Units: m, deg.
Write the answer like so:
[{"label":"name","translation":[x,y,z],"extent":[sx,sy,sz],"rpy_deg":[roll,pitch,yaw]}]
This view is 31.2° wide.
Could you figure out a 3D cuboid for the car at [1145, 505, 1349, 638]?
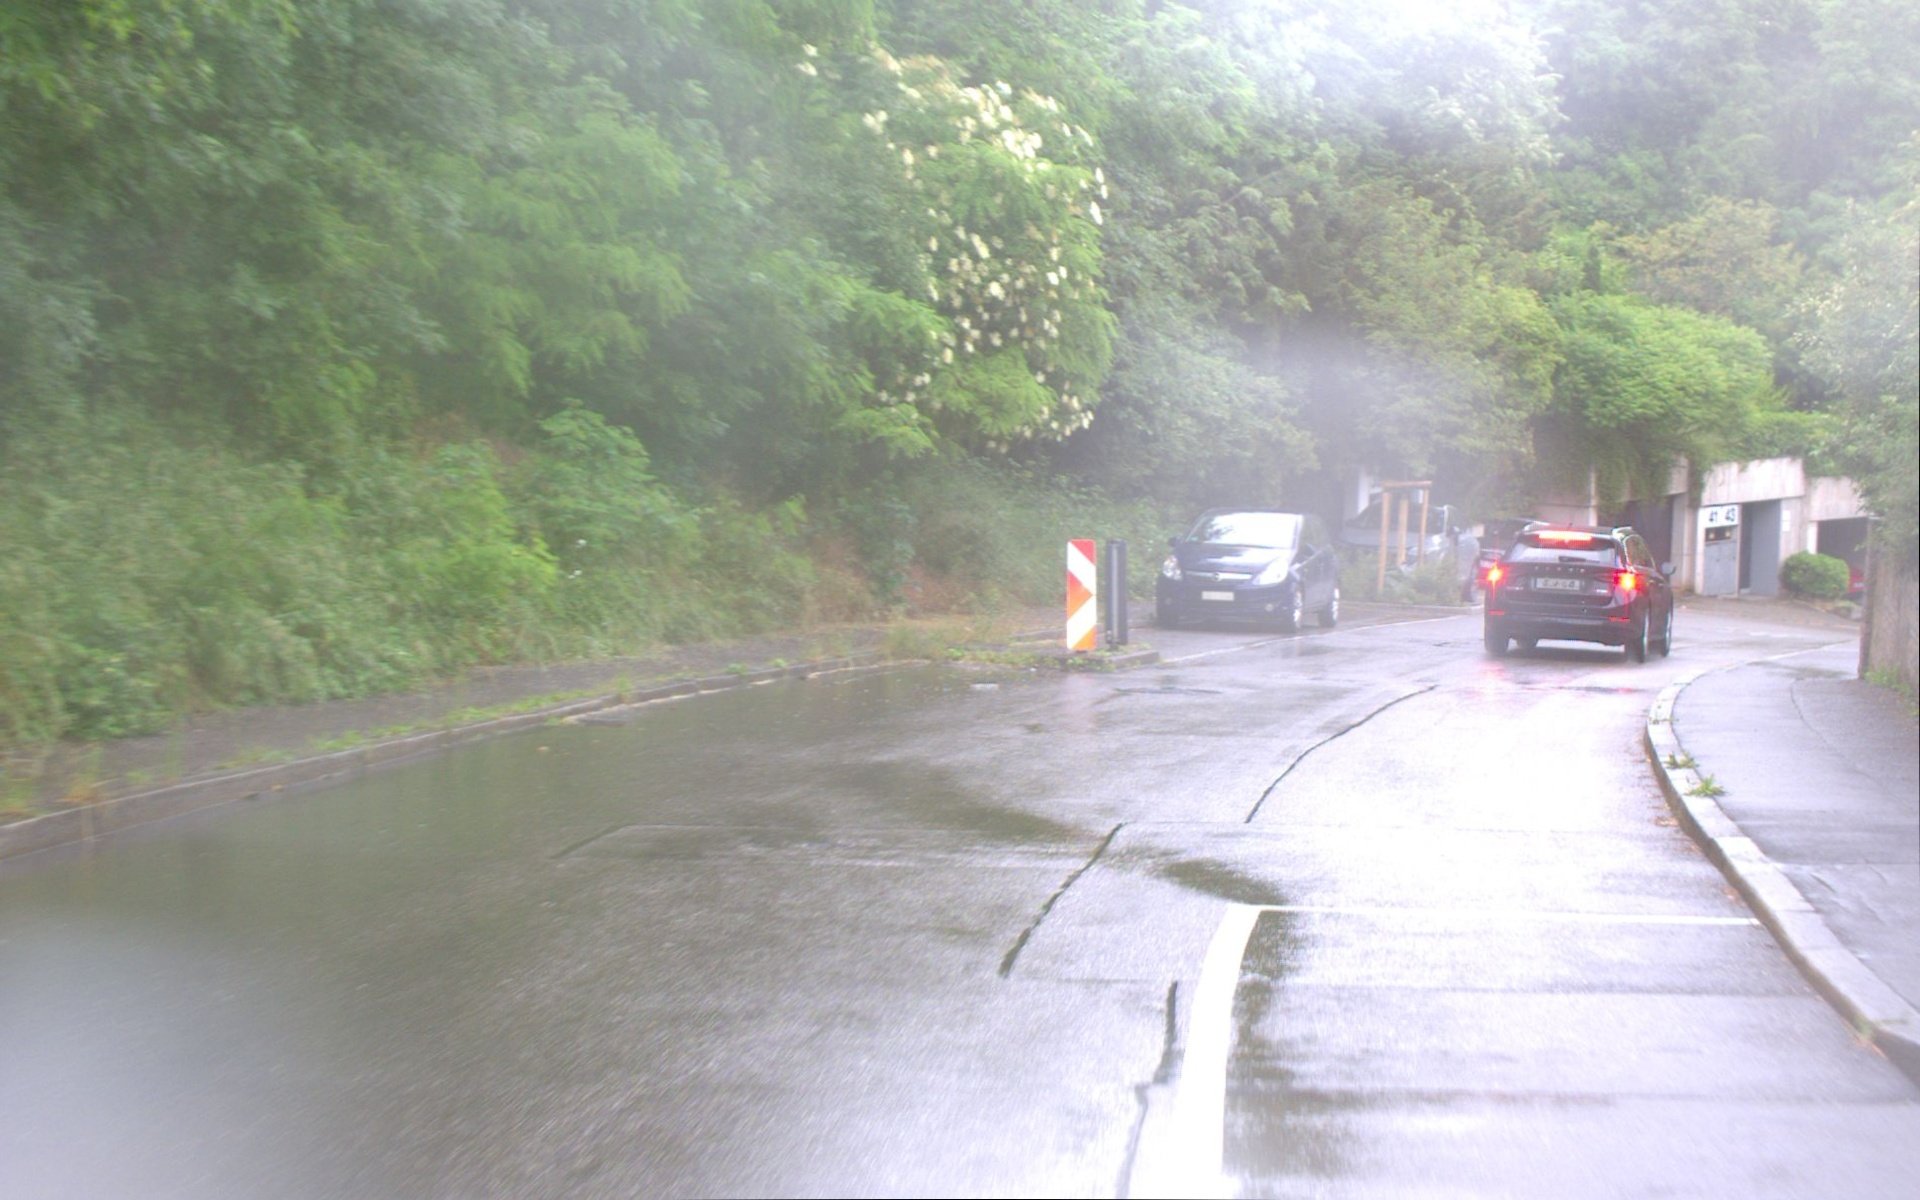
[{"label":"car","translation":[3.542,-0.387,41.867],"extent":[1.701,1.466,3.997],"rpy_deg":[3,2,15]}]

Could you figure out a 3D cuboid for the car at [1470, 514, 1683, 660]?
[{"label":"car","translation":[6.958,-0.184,38.526],"extent":[1.870,1.507,4.089],"rpy_deg":[2,2,17]}]

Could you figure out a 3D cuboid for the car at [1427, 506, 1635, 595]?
[{"label":"car","translation":[10.783,-0.917,64.678],"extent":[1.998,1.503,4.561],"rpy_deg":[4,2,35]}]
